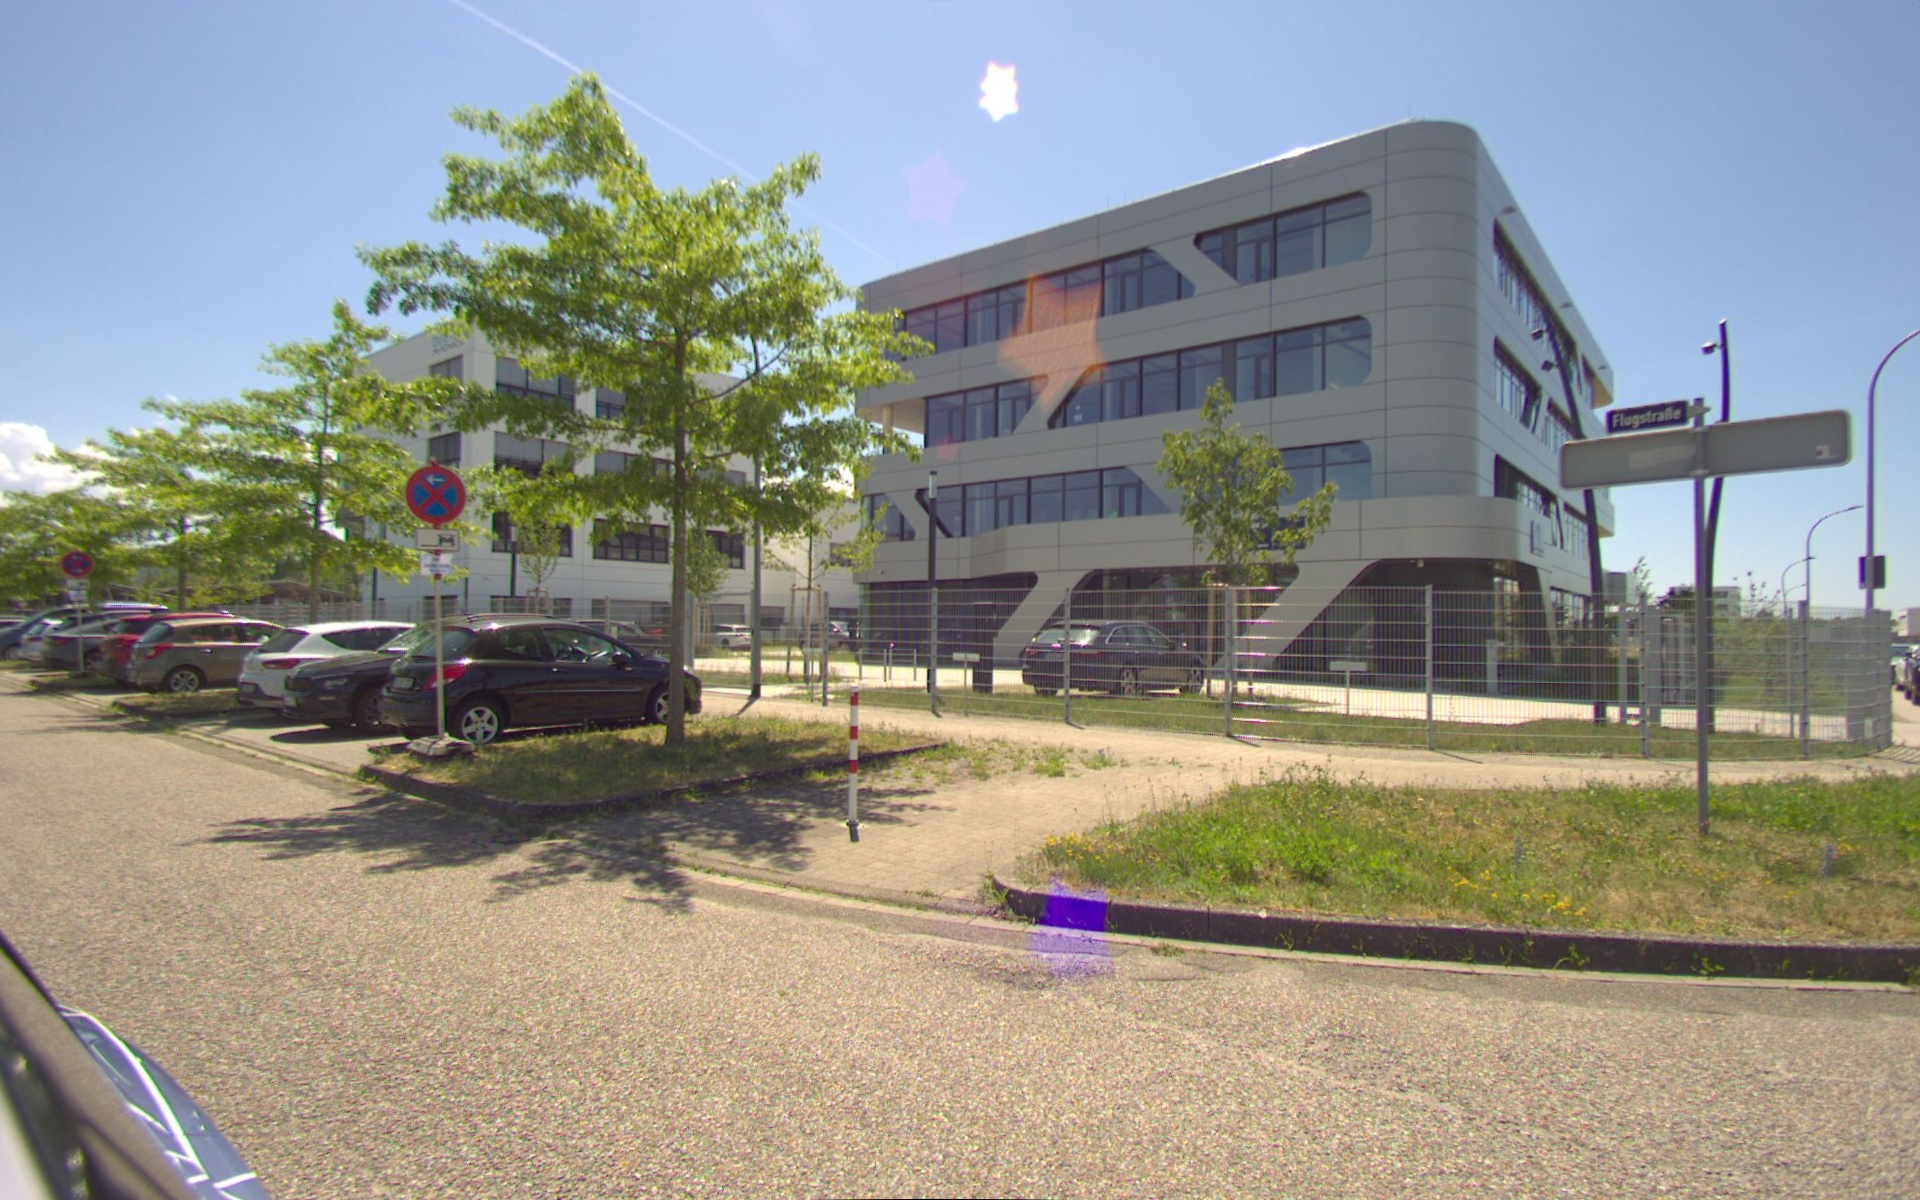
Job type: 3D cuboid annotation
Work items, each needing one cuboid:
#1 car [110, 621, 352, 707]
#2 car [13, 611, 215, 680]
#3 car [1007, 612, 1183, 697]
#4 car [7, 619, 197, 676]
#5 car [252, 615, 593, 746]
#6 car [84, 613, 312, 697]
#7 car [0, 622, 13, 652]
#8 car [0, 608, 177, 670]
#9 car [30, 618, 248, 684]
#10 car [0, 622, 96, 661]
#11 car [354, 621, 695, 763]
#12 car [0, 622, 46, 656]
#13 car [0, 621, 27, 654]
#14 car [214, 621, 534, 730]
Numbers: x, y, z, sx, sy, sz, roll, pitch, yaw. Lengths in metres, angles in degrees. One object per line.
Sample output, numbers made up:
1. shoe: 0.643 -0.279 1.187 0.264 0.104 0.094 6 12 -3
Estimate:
1. car: -14.562 1.210 20.380 1.728 1.520 3.623 -1 -1 36
2. car: -23.251 1.189 27.941 1.773 1.691 3.953 -1 0 35
3. car: 2.555 1.006 18.646 1.676 1.401 3.444 -1 -4 39
4. car: -24.926 1.325 29.527 1.602 1.472 4.000 -1 0 37
5. car: -7.451 1.008 14.321 1.783 1.532 3.889 -1 0 39
6. car: -16.504 1.128 22.044 1.815 1.634 3.699 -1 -1 40
7. car: -52.254 1.982 52.957 1.728 1.604 3.863 -2 -1 44
8. car: -29.393 1.252 33.666 1.996 1.906 5.016 -2 -1 41
9. car: -21.098 1.245 26.143 1.711 1.491 4.150 -1 0 40
10. car: -36.979 1.628 39.542 1.855 1.458 4.667 -2 -1 39
11. car: -5.357 1.021 12.772 1.725 1.446 3.589 -1 0 39
12. car: -45.318 1.852 46.950 1.806 1.524 4.128 -3 -2 41
13. car: -47.424 1.826 48.494 1.725 1.604 3.802 -2 -1 38
14. car: -9.222 1.091 16.216 1.870 1.435 4.039 -1 0 36
